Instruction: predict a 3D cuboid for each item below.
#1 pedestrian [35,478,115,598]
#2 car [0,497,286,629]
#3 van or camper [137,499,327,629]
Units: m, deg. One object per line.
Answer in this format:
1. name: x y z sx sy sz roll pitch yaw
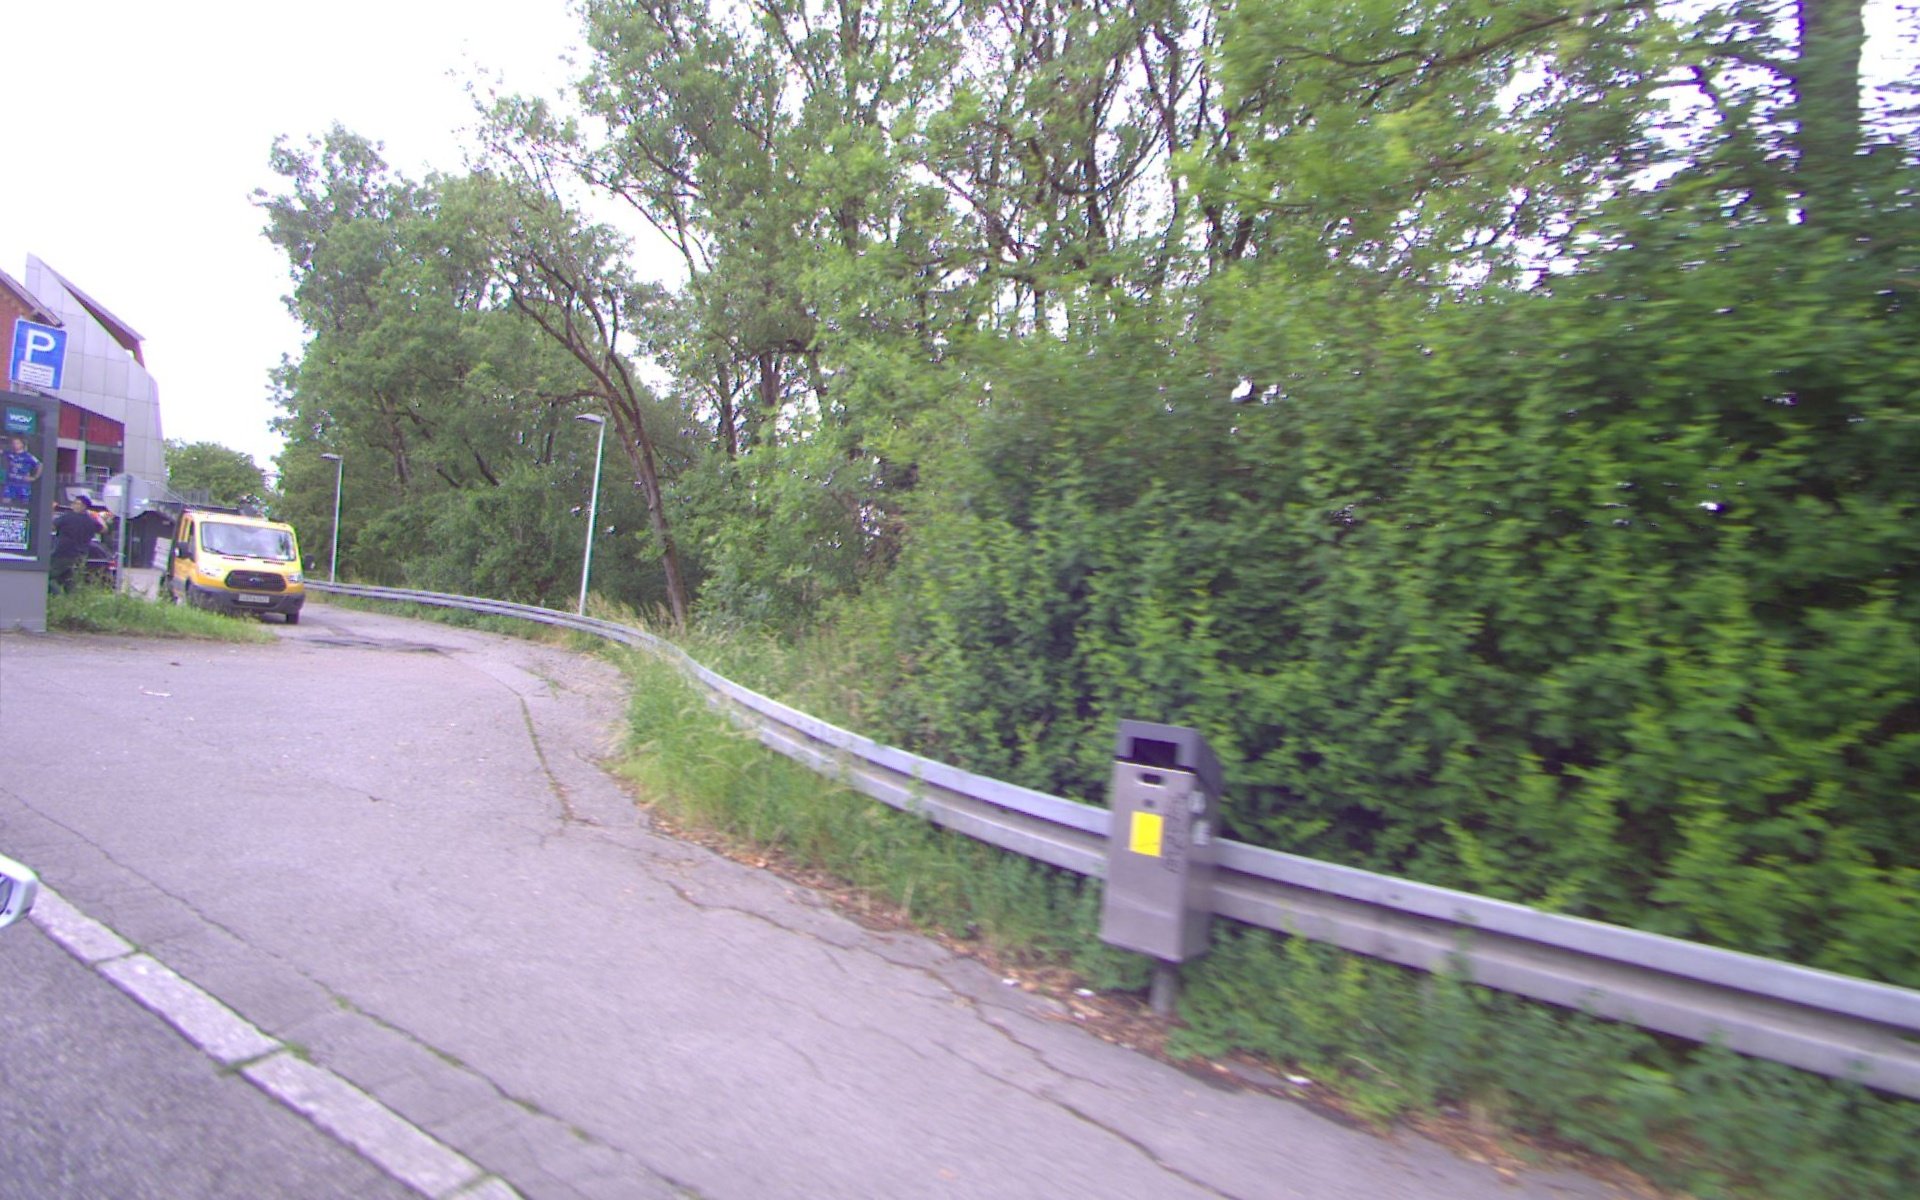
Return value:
1. pedestrian: -12.448 -0.866 14.153 0.576 1.592 0.645 7 3 32
2. car: -13.266 -0.539 16.250 1.552 1.558 3.494 7 -3 33
3. van or camper: -16.534 -0.882 22.685 6.094 2.360 2.211 7 2 42
